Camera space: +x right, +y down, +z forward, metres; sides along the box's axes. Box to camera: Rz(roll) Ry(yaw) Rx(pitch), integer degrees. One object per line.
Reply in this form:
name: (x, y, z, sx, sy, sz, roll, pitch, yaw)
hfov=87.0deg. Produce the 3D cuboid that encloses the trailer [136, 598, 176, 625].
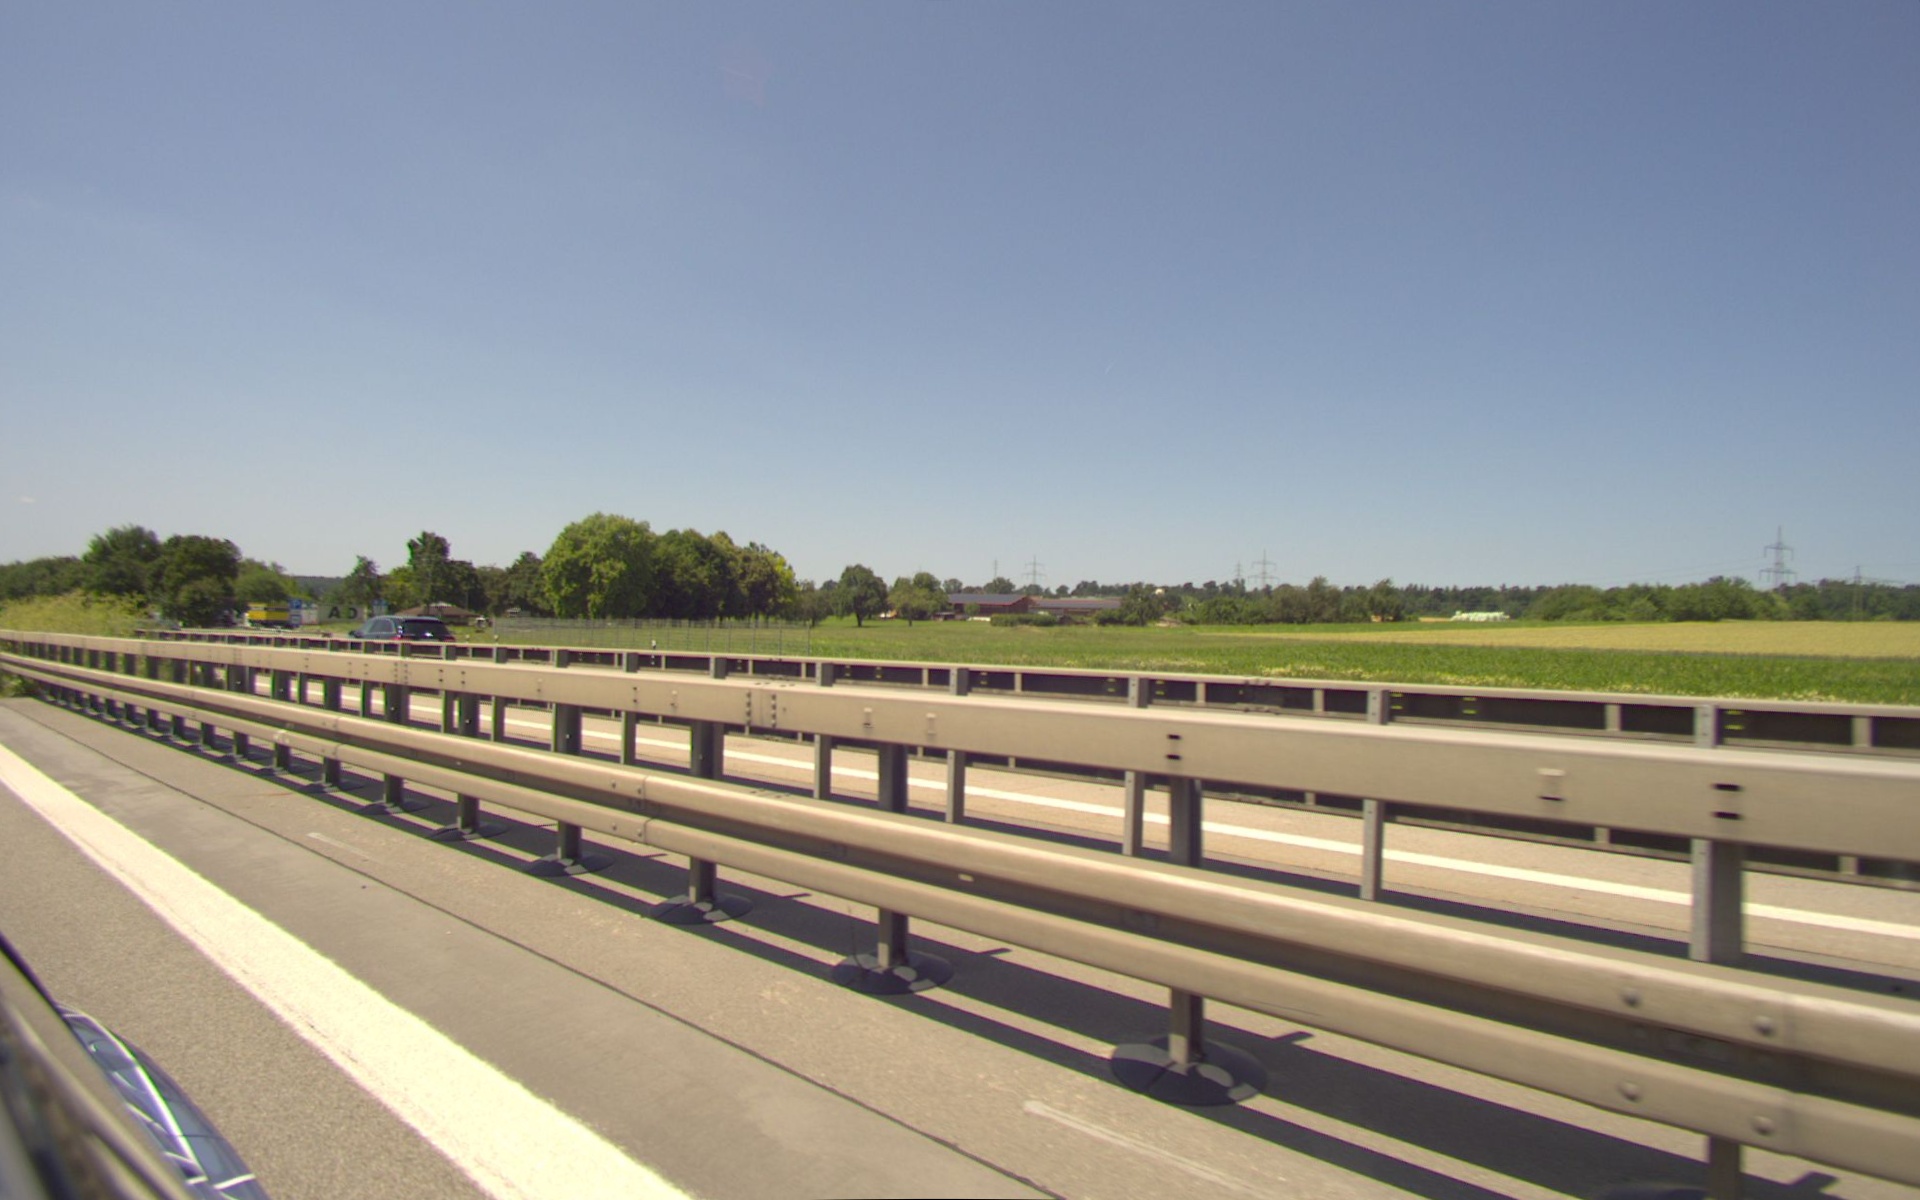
trailer: (-113.879, 1.596, 143.324, 8.703, 3.689, 2.521, 0, 0, 39)

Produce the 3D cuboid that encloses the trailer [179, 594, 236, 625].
trailer: (-97.242, 1.139, 130.604, 14.401, 3.807, 2.740, 0, 0, 40)

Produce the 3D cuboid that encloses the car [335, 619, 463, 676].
car: (-15.568, 1.285, 28.003, 3.998, 1.455, 1.800, -1, -3, 41)
